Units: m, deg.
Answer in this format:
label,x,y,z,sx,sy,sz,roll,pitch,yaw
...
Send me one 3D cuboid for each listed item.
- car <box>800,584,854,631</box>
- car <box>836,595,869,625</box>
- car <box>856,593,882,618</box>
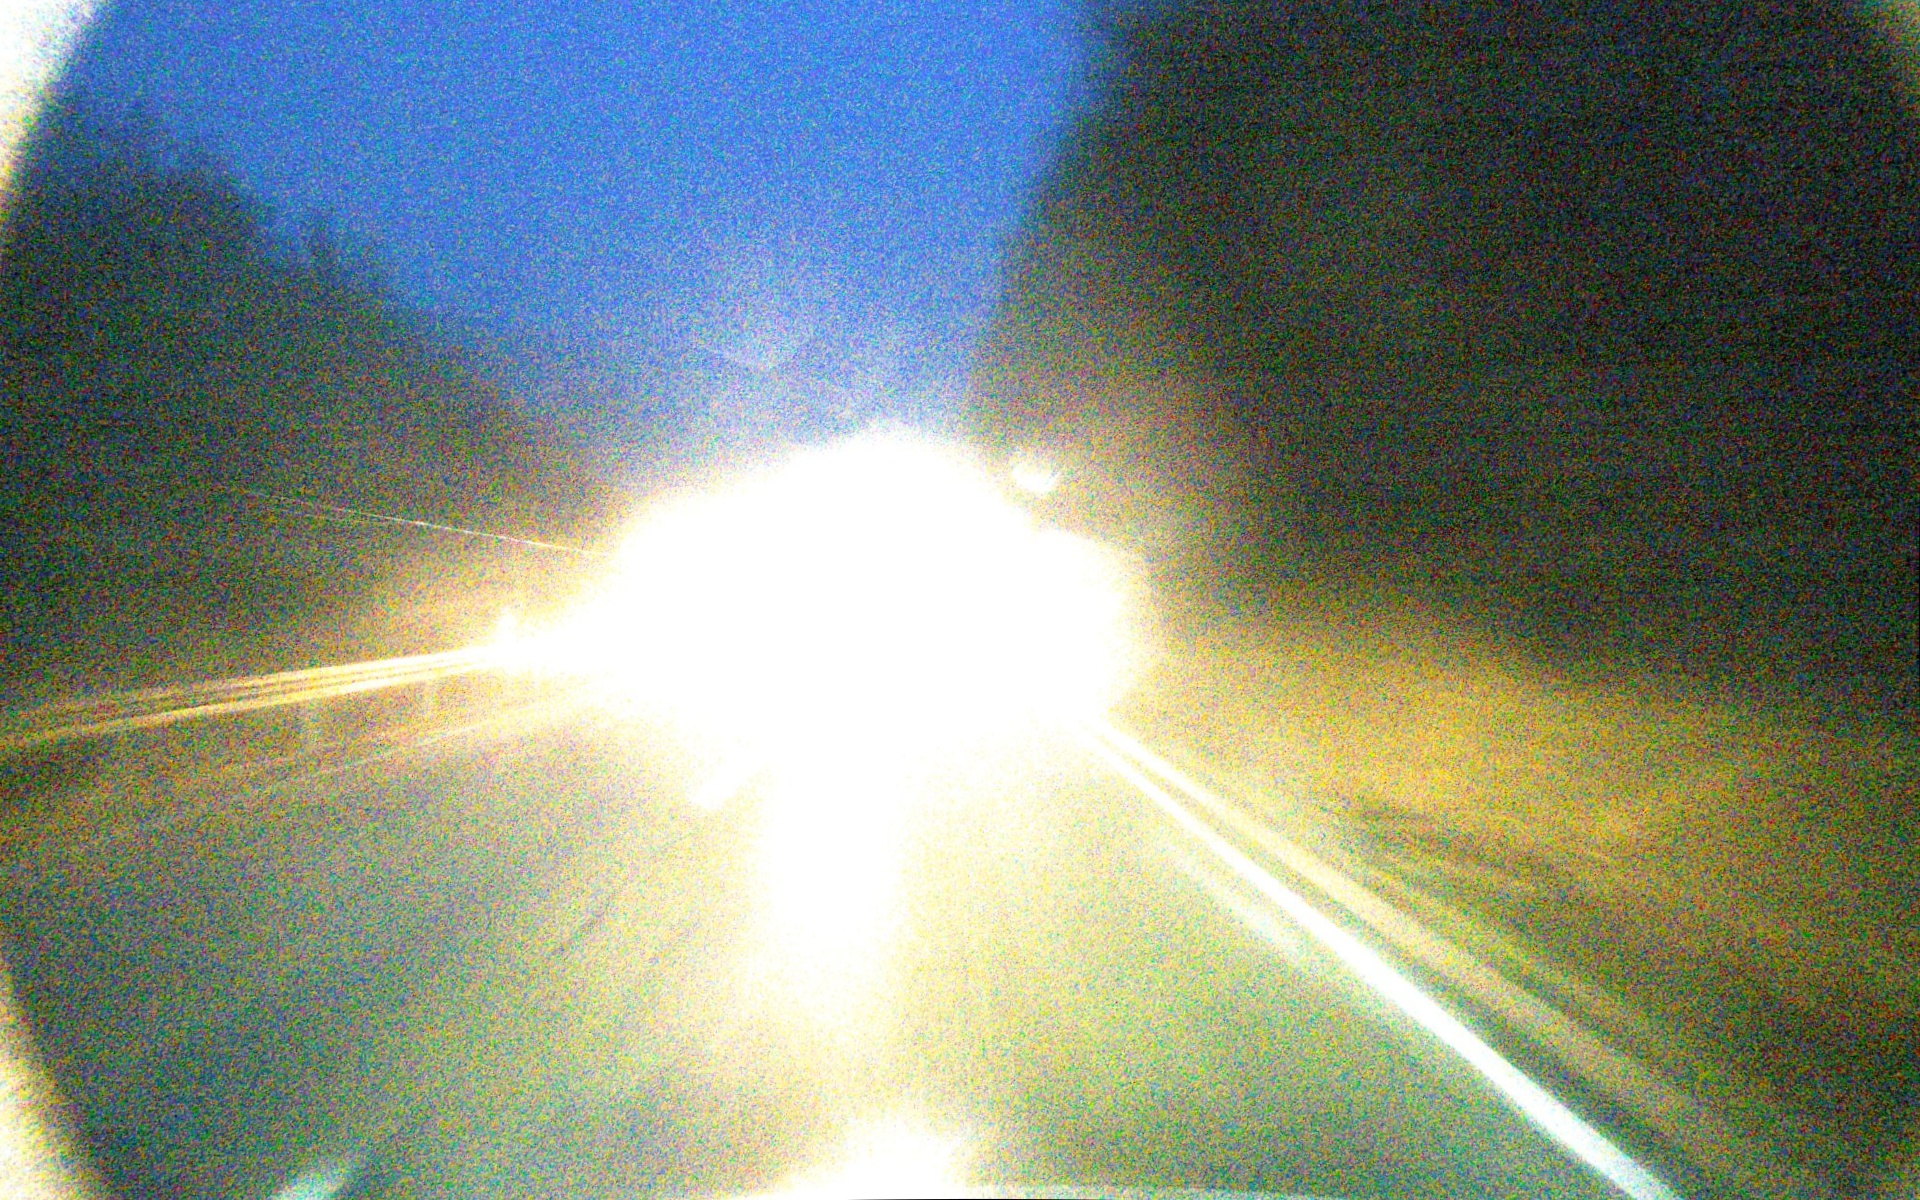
label,x,y,z,sx,sy,sz,roll,pitch,yaw
car,-4.982,0.251,62.303,1.772,1.628,4.630,1,1,-2
car,-5.795,0.536,89.560,1.612,1.450,3.657,3,0,-3
car,-5.946,0.351,108.321,1.612,1.450,4.121,3,0,-3
